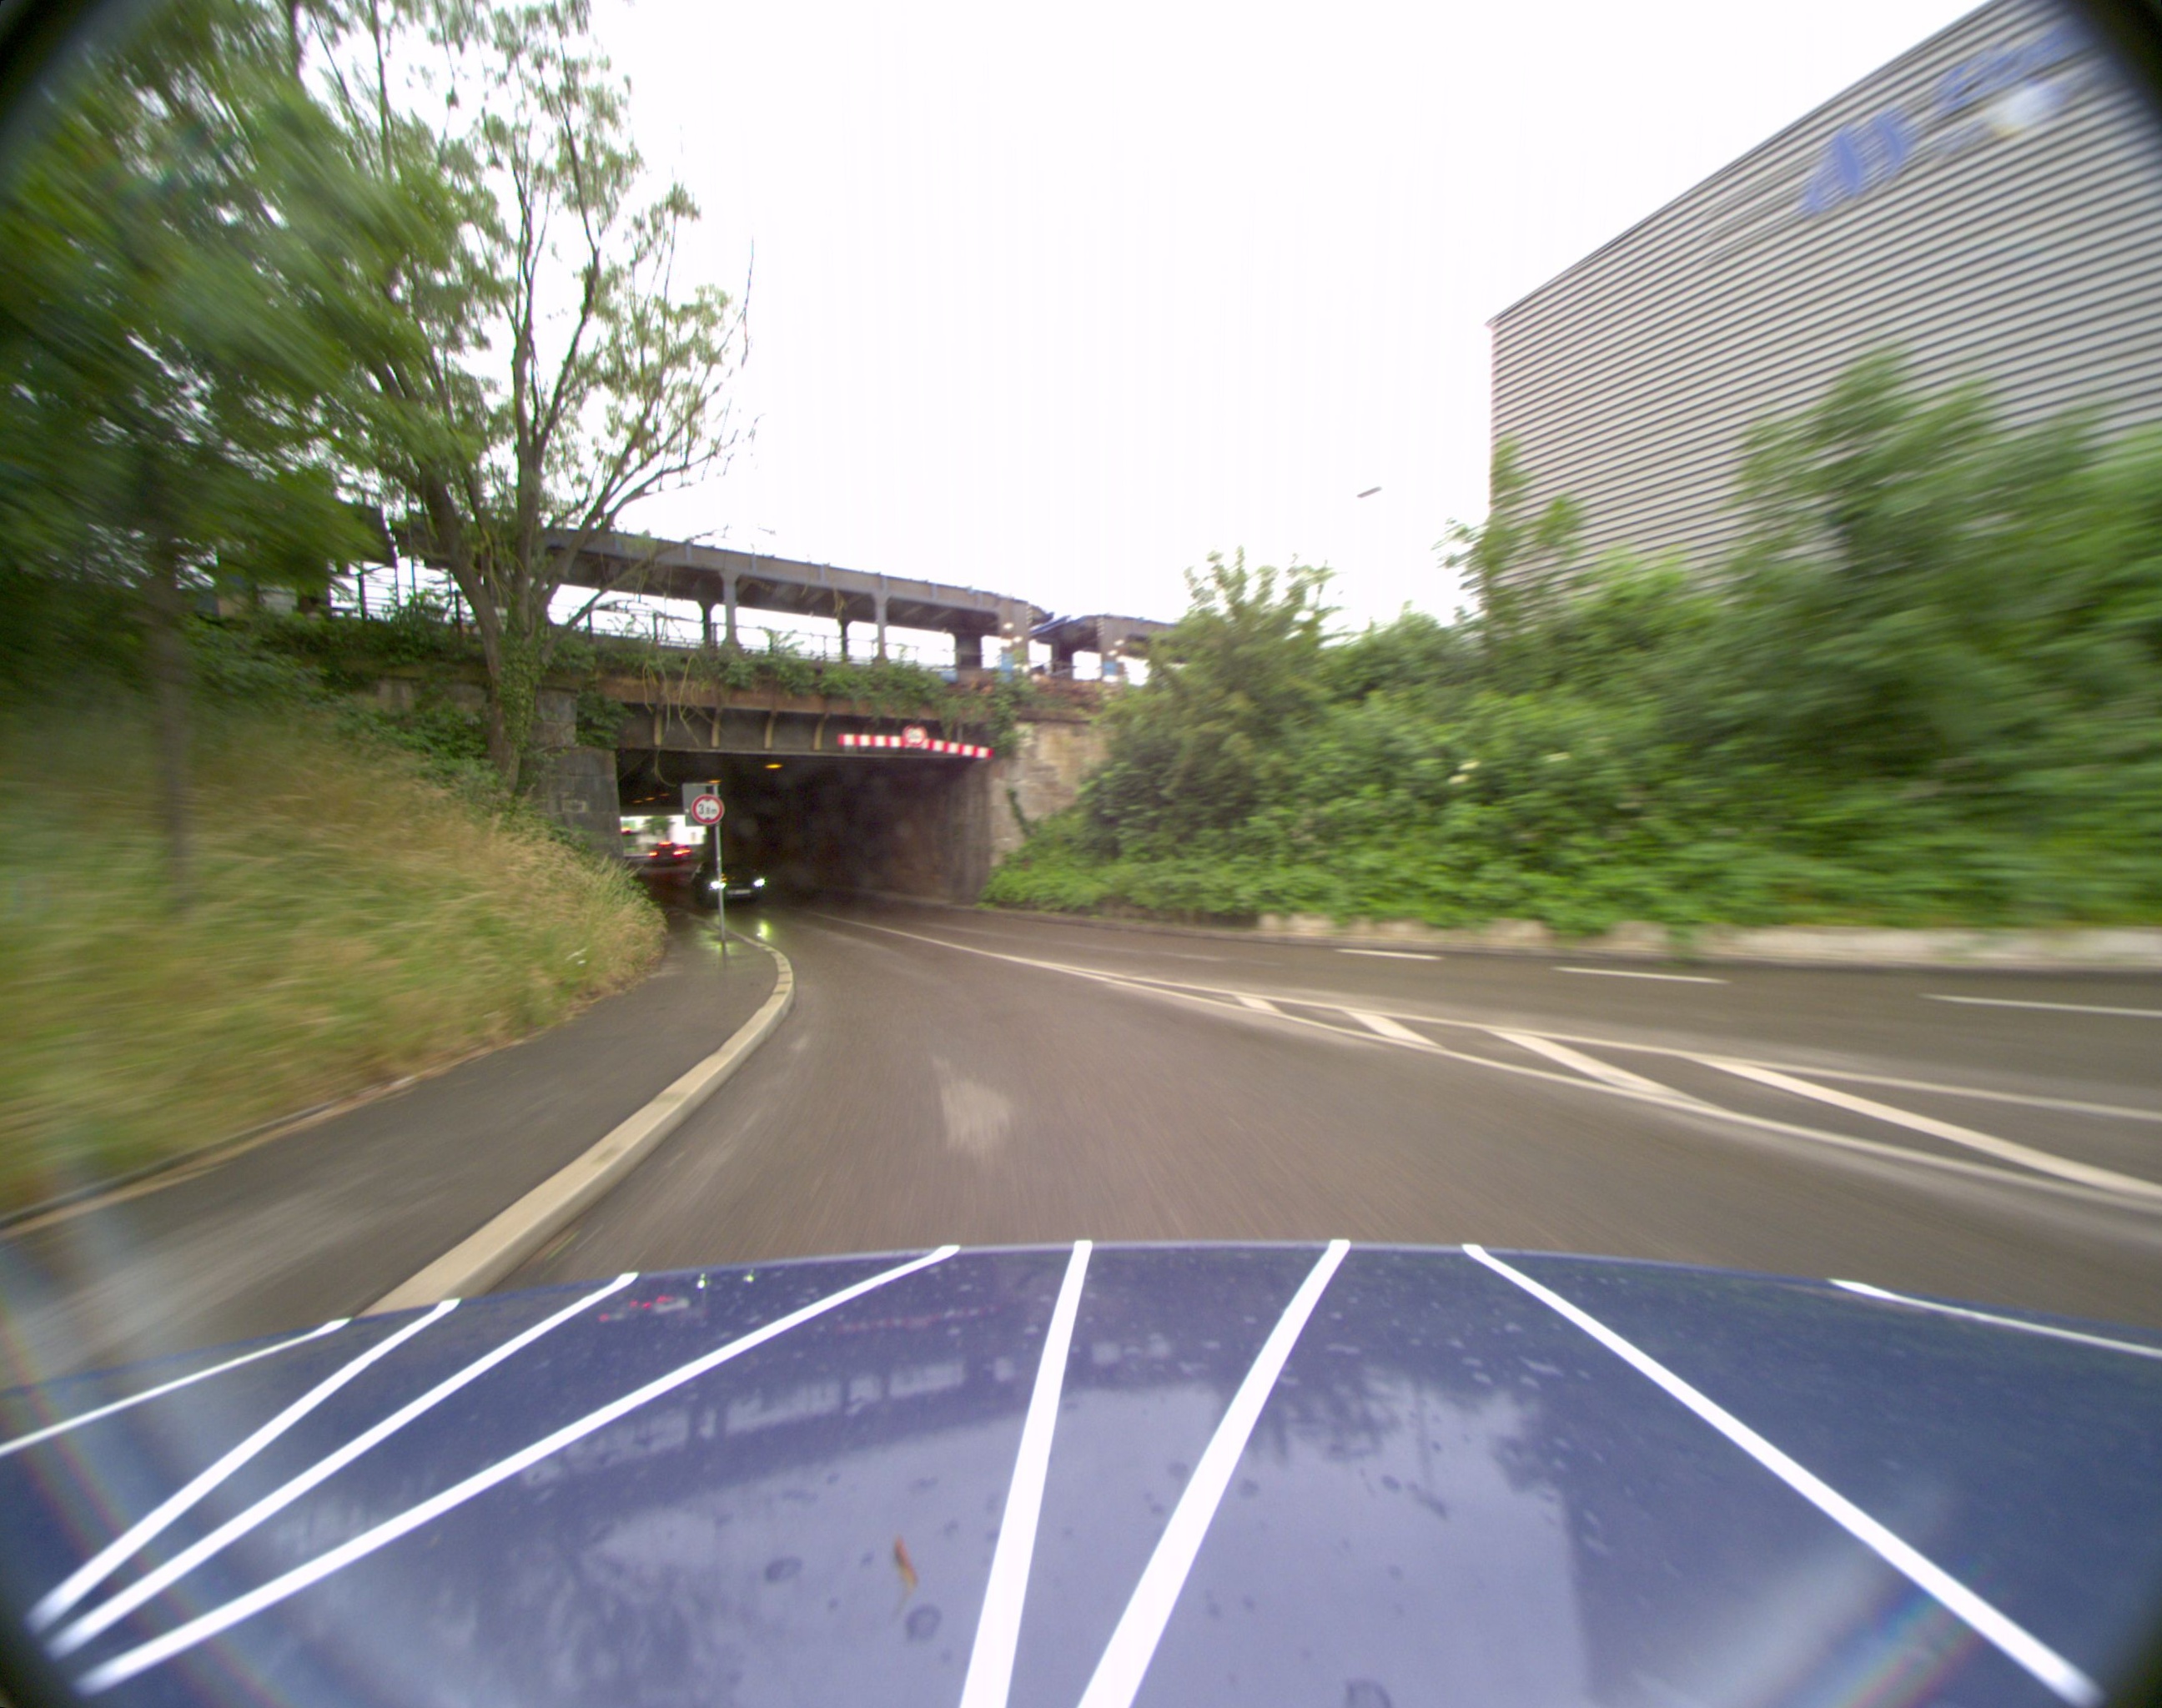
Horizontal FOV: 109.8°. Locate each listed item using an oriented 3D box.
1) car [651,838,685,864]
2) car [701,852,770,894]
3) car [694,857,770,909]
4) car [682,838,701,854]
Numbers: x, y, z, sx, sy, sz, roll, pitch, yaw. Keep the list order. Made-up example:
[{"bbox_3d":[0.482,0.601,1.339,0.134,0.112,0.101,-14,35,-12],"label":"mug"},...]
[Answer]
[{"bbox_3d":[-31.213,-0.268,57.362,1.917,1.792,3.989,-3,4,-31],"label":"car"},{"bbox_3d":[-14.698,0.743,32.189,1.815,1.509,4.040,-2,3,-37],"label":"car"},{"bbox_3d":[-12.343,0.947,26.755,1.815,1.509,4.041,-3,3,-33],"label":"car"},{"bbox_3d":[-35.984,-0.760,70.137,1.280,1.309,3.311,-3,4,-31],"label":"car"}]
